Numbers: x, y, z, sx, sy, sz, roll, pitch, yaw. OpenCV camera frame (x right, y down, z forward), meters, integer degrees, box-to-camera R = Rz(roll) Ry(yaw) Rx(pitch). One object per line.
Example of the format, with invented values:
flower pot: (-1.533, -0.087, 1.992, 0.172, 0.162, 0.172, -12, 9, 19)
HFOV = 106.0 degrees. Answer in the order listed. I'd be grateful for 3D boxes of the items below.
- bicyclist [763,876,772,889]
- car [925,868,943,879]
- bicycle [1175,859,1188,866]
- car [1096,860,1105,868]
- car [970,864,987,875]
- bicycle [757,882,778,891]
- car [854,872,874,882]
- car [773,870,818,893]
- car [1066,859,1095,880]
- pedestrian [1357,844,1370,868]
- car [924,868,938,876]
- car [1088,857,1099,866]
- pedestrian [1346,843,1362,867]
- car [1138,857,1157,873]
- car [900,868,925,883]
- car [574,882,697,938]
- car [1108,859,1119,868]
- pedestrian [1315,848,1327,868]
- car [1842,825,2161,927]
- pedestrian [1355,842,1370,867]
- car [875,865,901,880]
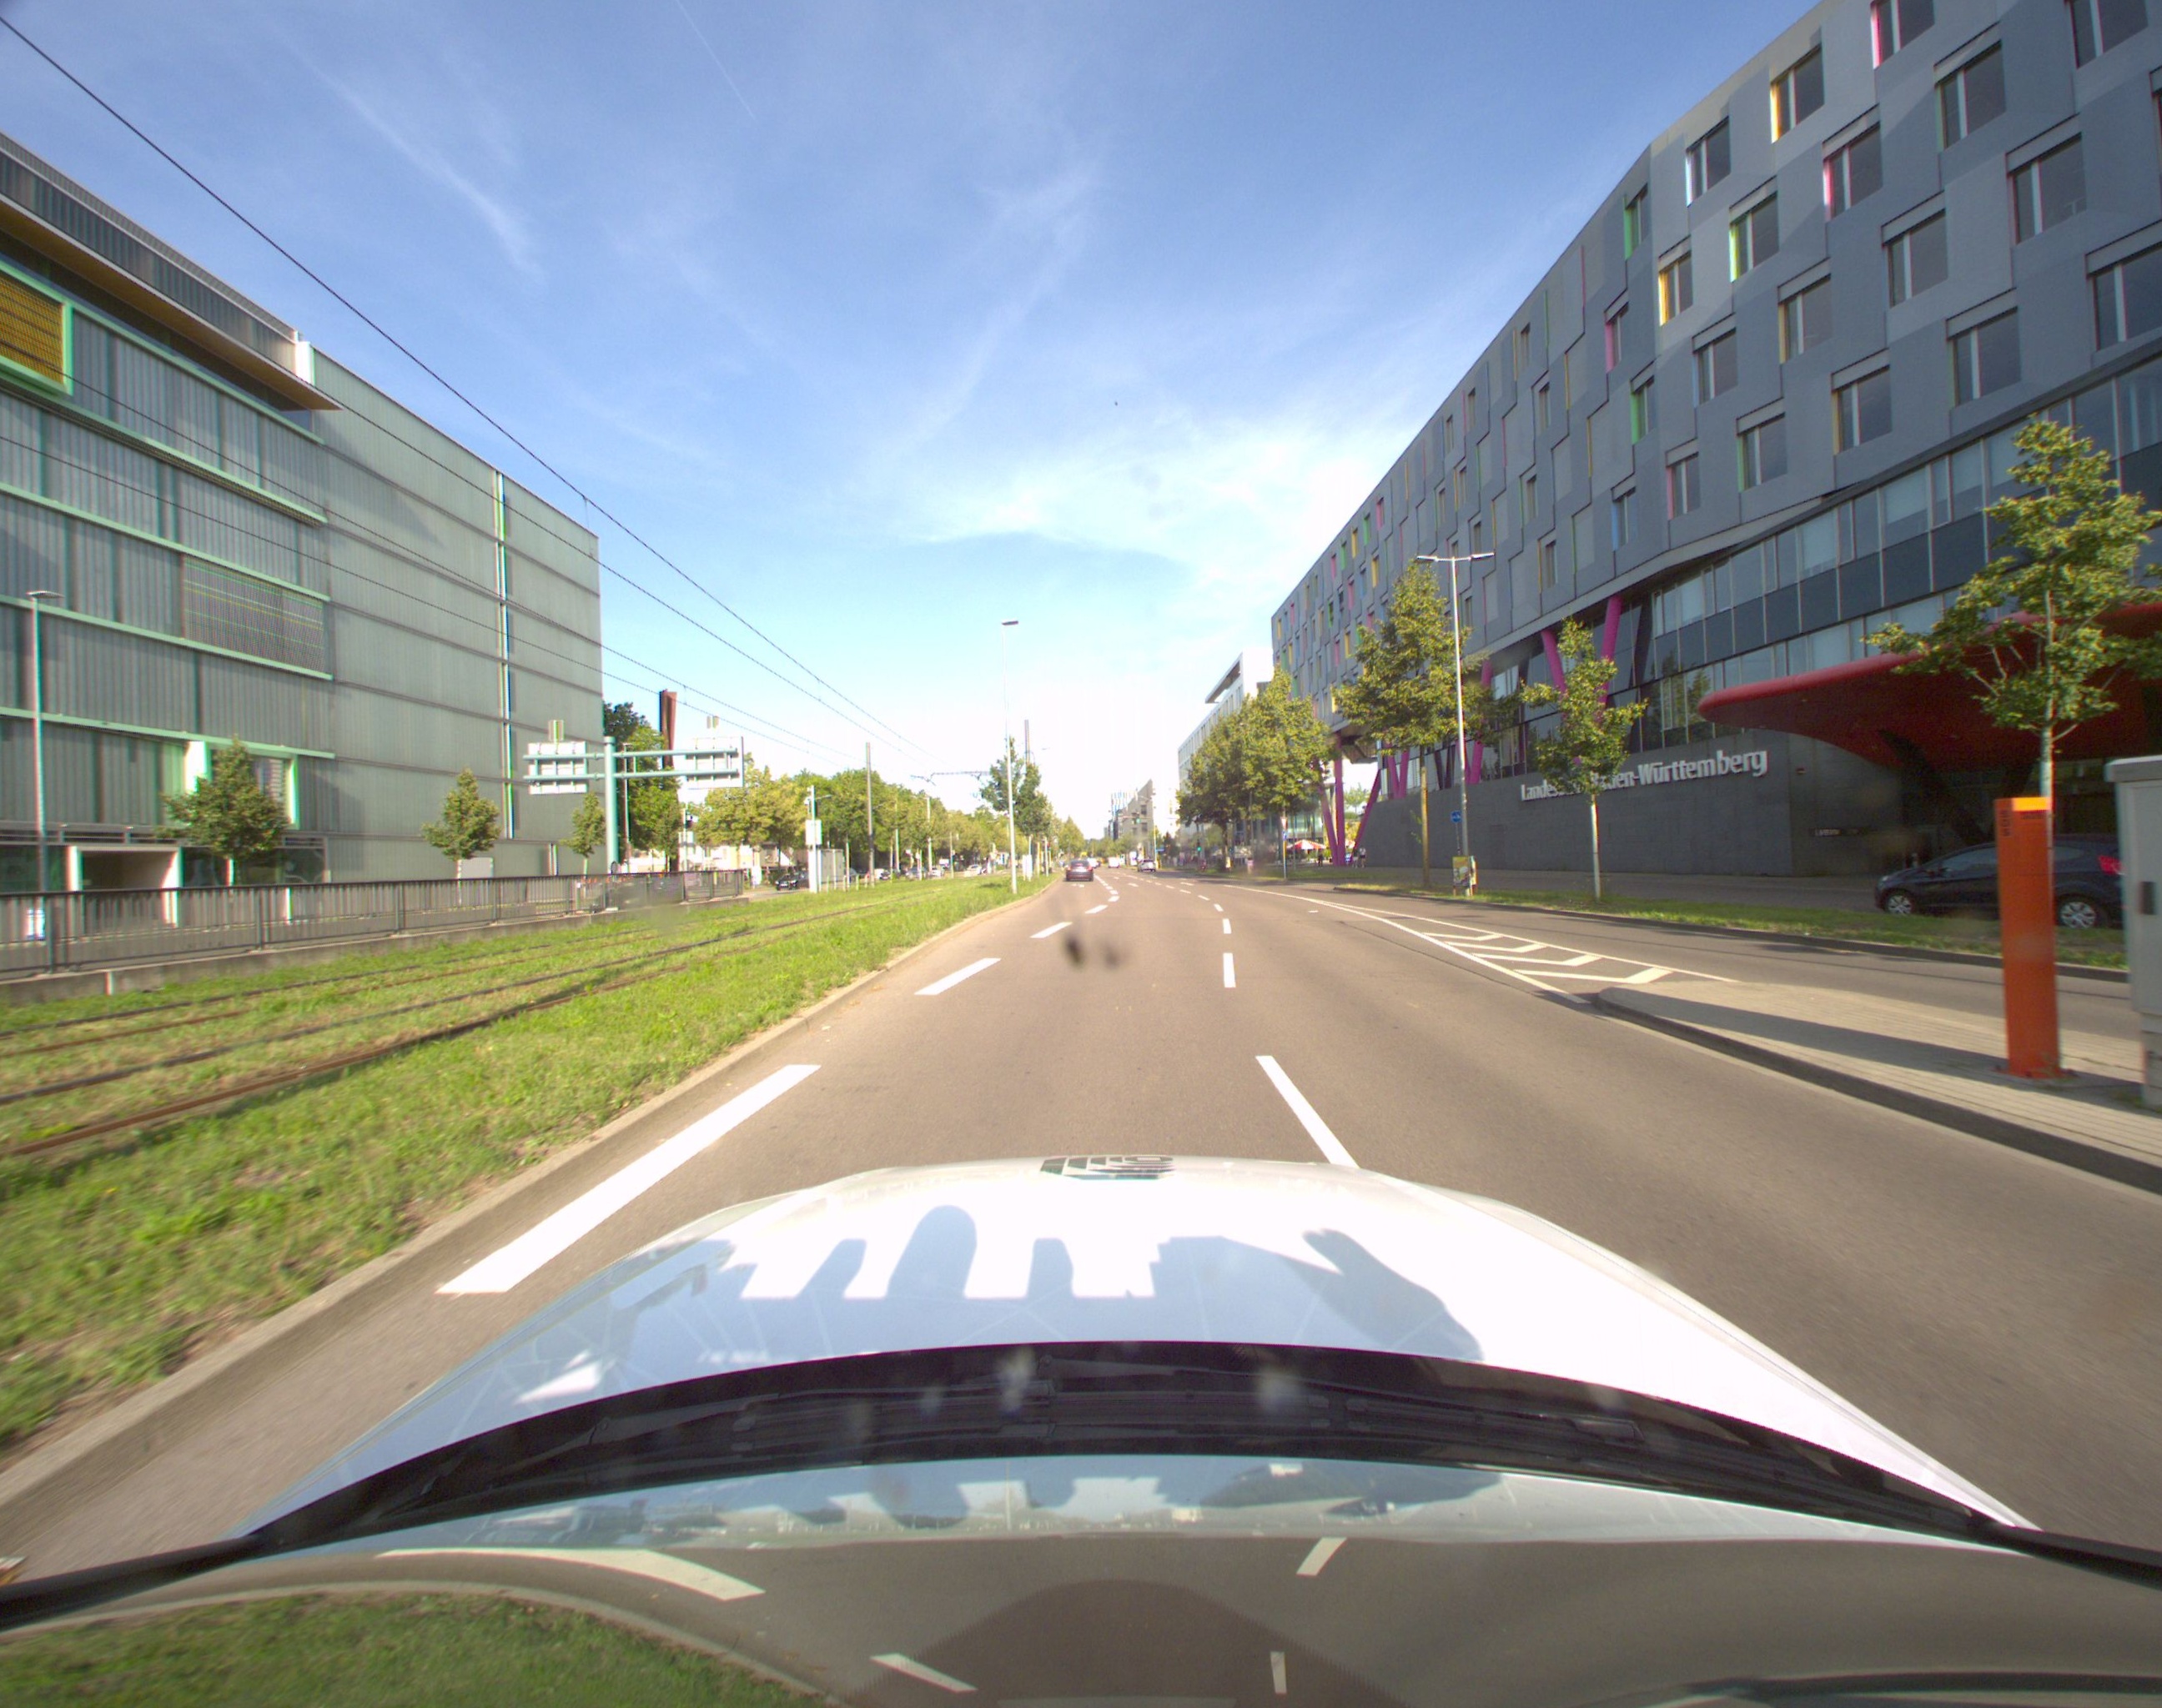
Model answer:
bicyclist: (-36.767, 3.350, 95.489, 0.851, 1.493, 0.694, -2, -1, -23)
car: (-22.258, 2.924, 123.773, 1.900, 1.528, 4.441, -2, 0, 0)
bicycle: (15.299, 1.297, 123.436, 0.778, 1.032, 1.855, -2, 0, -44)
car: (4.168, 2.102, 173.176, 1.917, 1.684, 4.000, 0, 0, 0)
car: (-15.661, 2.381, 124.173, 1.986, 1.504, 4.094, -2, 0, 1)
bicycle: (-36.763, 3.803, 95.473, 2.205, 1.041, 0.694, -2, -1, -23)
car: (-36.360, 3.815, 136.297, 1.872, 1.559, 4.005, -2, -1, 5)
car: (-23.246, 2.222, 66.535, 1.987, 1.687, 4.724, -2, 0, -1)
car: (-0.066, 1.039, 55.246, 1.884, 1.386, 4.333, 0, 0, 0)
pedestrian: (21.849, 0.157, 62.957, 0.654, 1.793, 0.786, -2, -1, -1)
car: (-32.908, 3.963, 178.829, 1.872, 1.559, 4.005, -2, -1, 5)
car: (2.206, 1.317, 148.179, 2.008, 1.684, 4.000, 0, 0, 0)
pedestrian: (21.109, 0.091, 62.963, 0.752, 1.793, 0.843, -4, -1, -1)
car: (7.439, 1.208, 91.504, 1.858, 1.684, 4.000, 0, 0, 0)
car: (-20.058, 2.535, 97.231, 1.989, 1.527, 4.907, -6, 0, -3)
car: (-16.410, 2.011, 30.332, 1.987, 1.687, 4.724, -2, 0, -1)
car: (6.047, 1.721, 150.892, 1.858, 1.684, 4.000, 0, 0, 0)
pedestrian: (19.937, 0.314, 67.746, 0.692, 1.639, 0.736, -4, -1, -1)
car: (15.400, 0.292, 13.440, 1.687, 1.390, 4.196, -2, 0, -2)
pedestrian: (21.761, 0.032, 62.995, 0.766, 1.825, 0.852, -4, -1, -1)
car: (-23.232, 2.204, 98.330, 1.987, 1.687, 4.614, -2, 0, -1)
